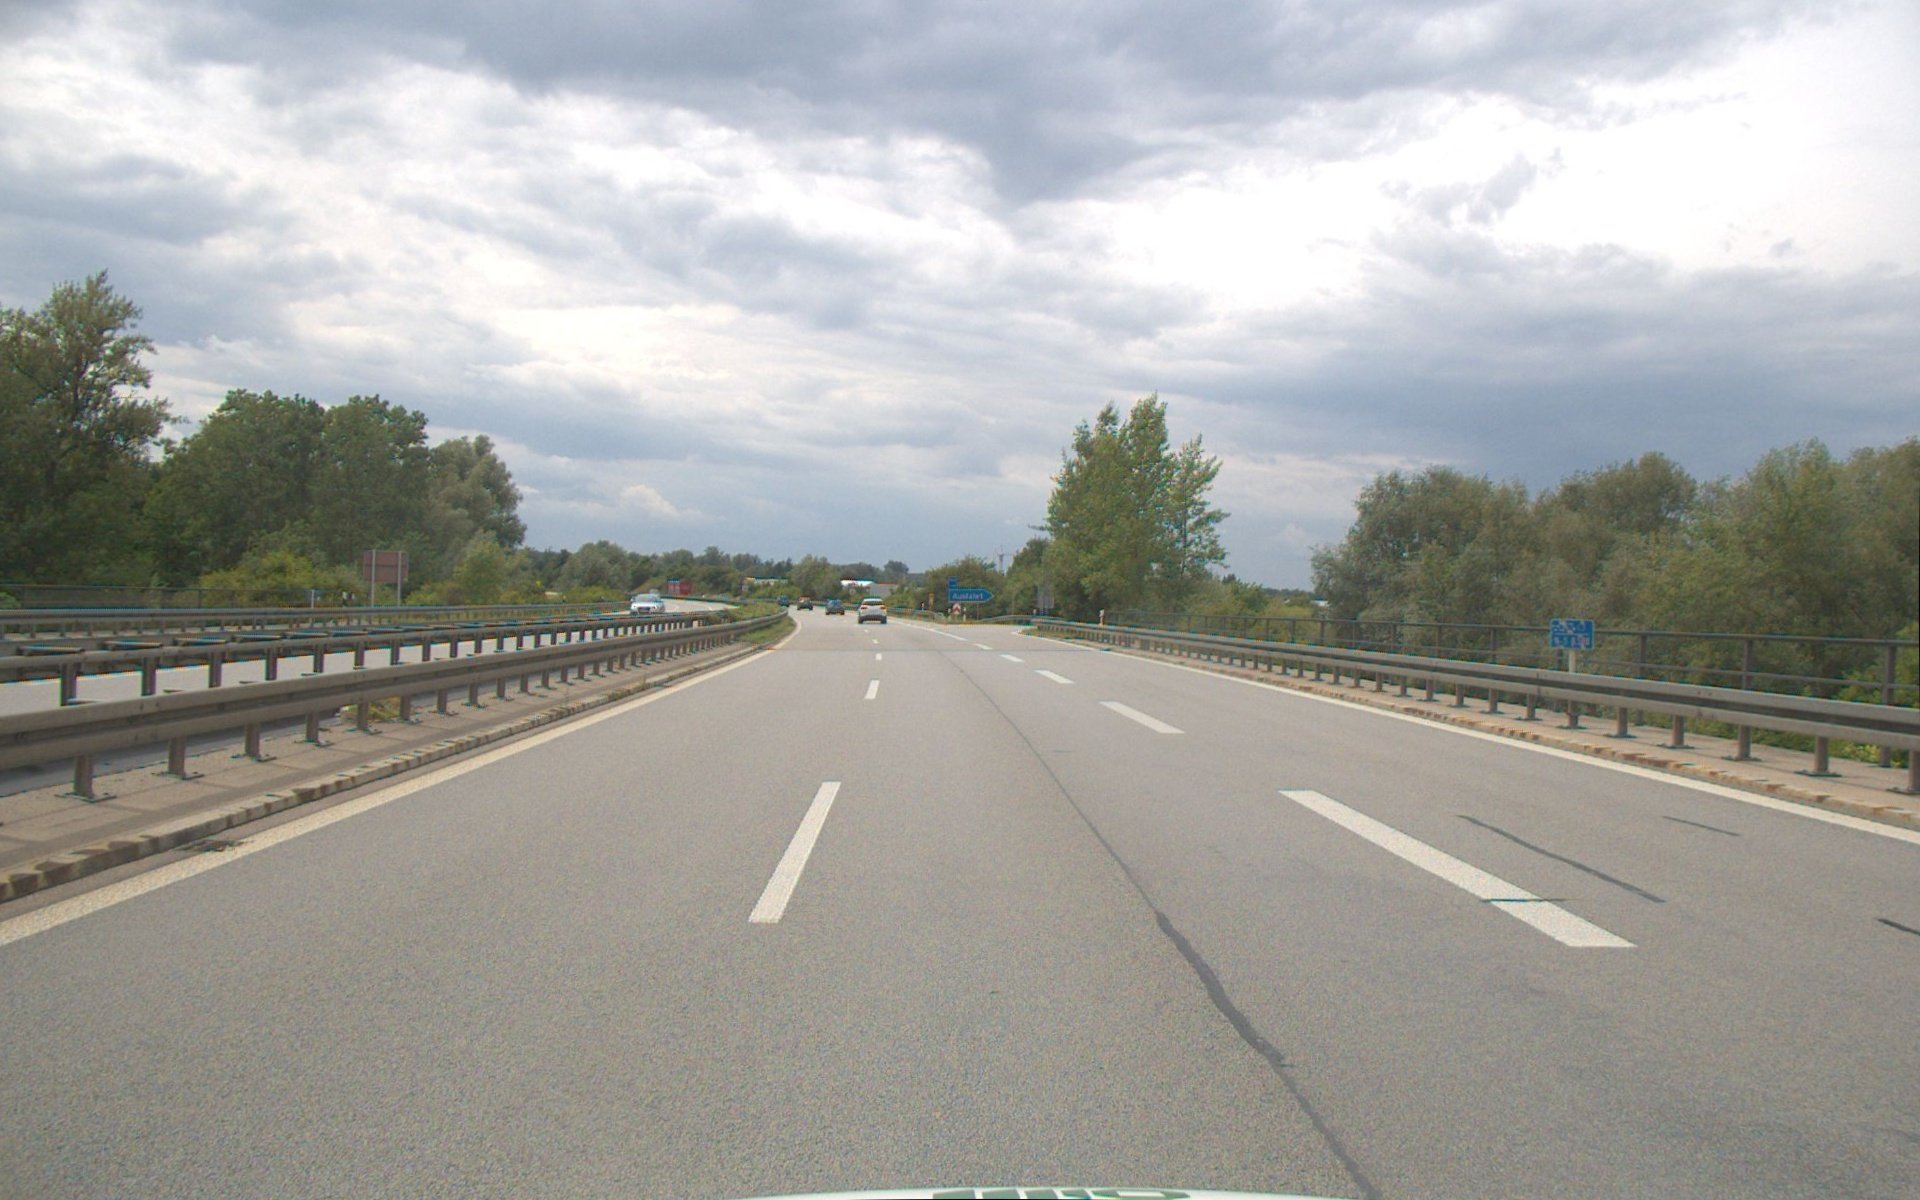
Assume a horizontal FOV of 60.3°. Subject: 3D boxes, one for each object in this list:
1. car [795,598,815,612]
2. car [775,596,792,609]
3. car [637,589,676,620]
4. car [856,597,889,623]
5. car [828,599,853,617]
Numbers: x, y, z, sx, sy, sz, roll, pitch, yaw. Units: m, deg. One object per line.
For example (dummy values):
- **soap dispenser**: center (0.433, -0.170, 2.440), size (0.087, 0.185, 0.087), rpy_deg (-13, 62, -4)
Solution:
- **car**: center (-19.480, 0.659, 207.897), size (1.869, 1.668, 4.765), rpy_deg (1, 0, -12)
- **car**: center (-25.516, 0.373, 239.144), size (1.796, 1.825, 4.397), rpy_deg (1, 0, -14)
- **car**: center (-18.022, 0.260, 98.390), size (1.610, 1.745, 4.977), rpy_deg (1, 0, -3)
- **car**: center (-5.977, 0.695, 112.514), size (1.866, 1.668, 4.389), rpy_deg (2, 0, -7)
- **car**: center (-11.963, 0.772, 165.181), size (1.858, 1.668, 4.609), rpy_deg (1, 0, -11)
